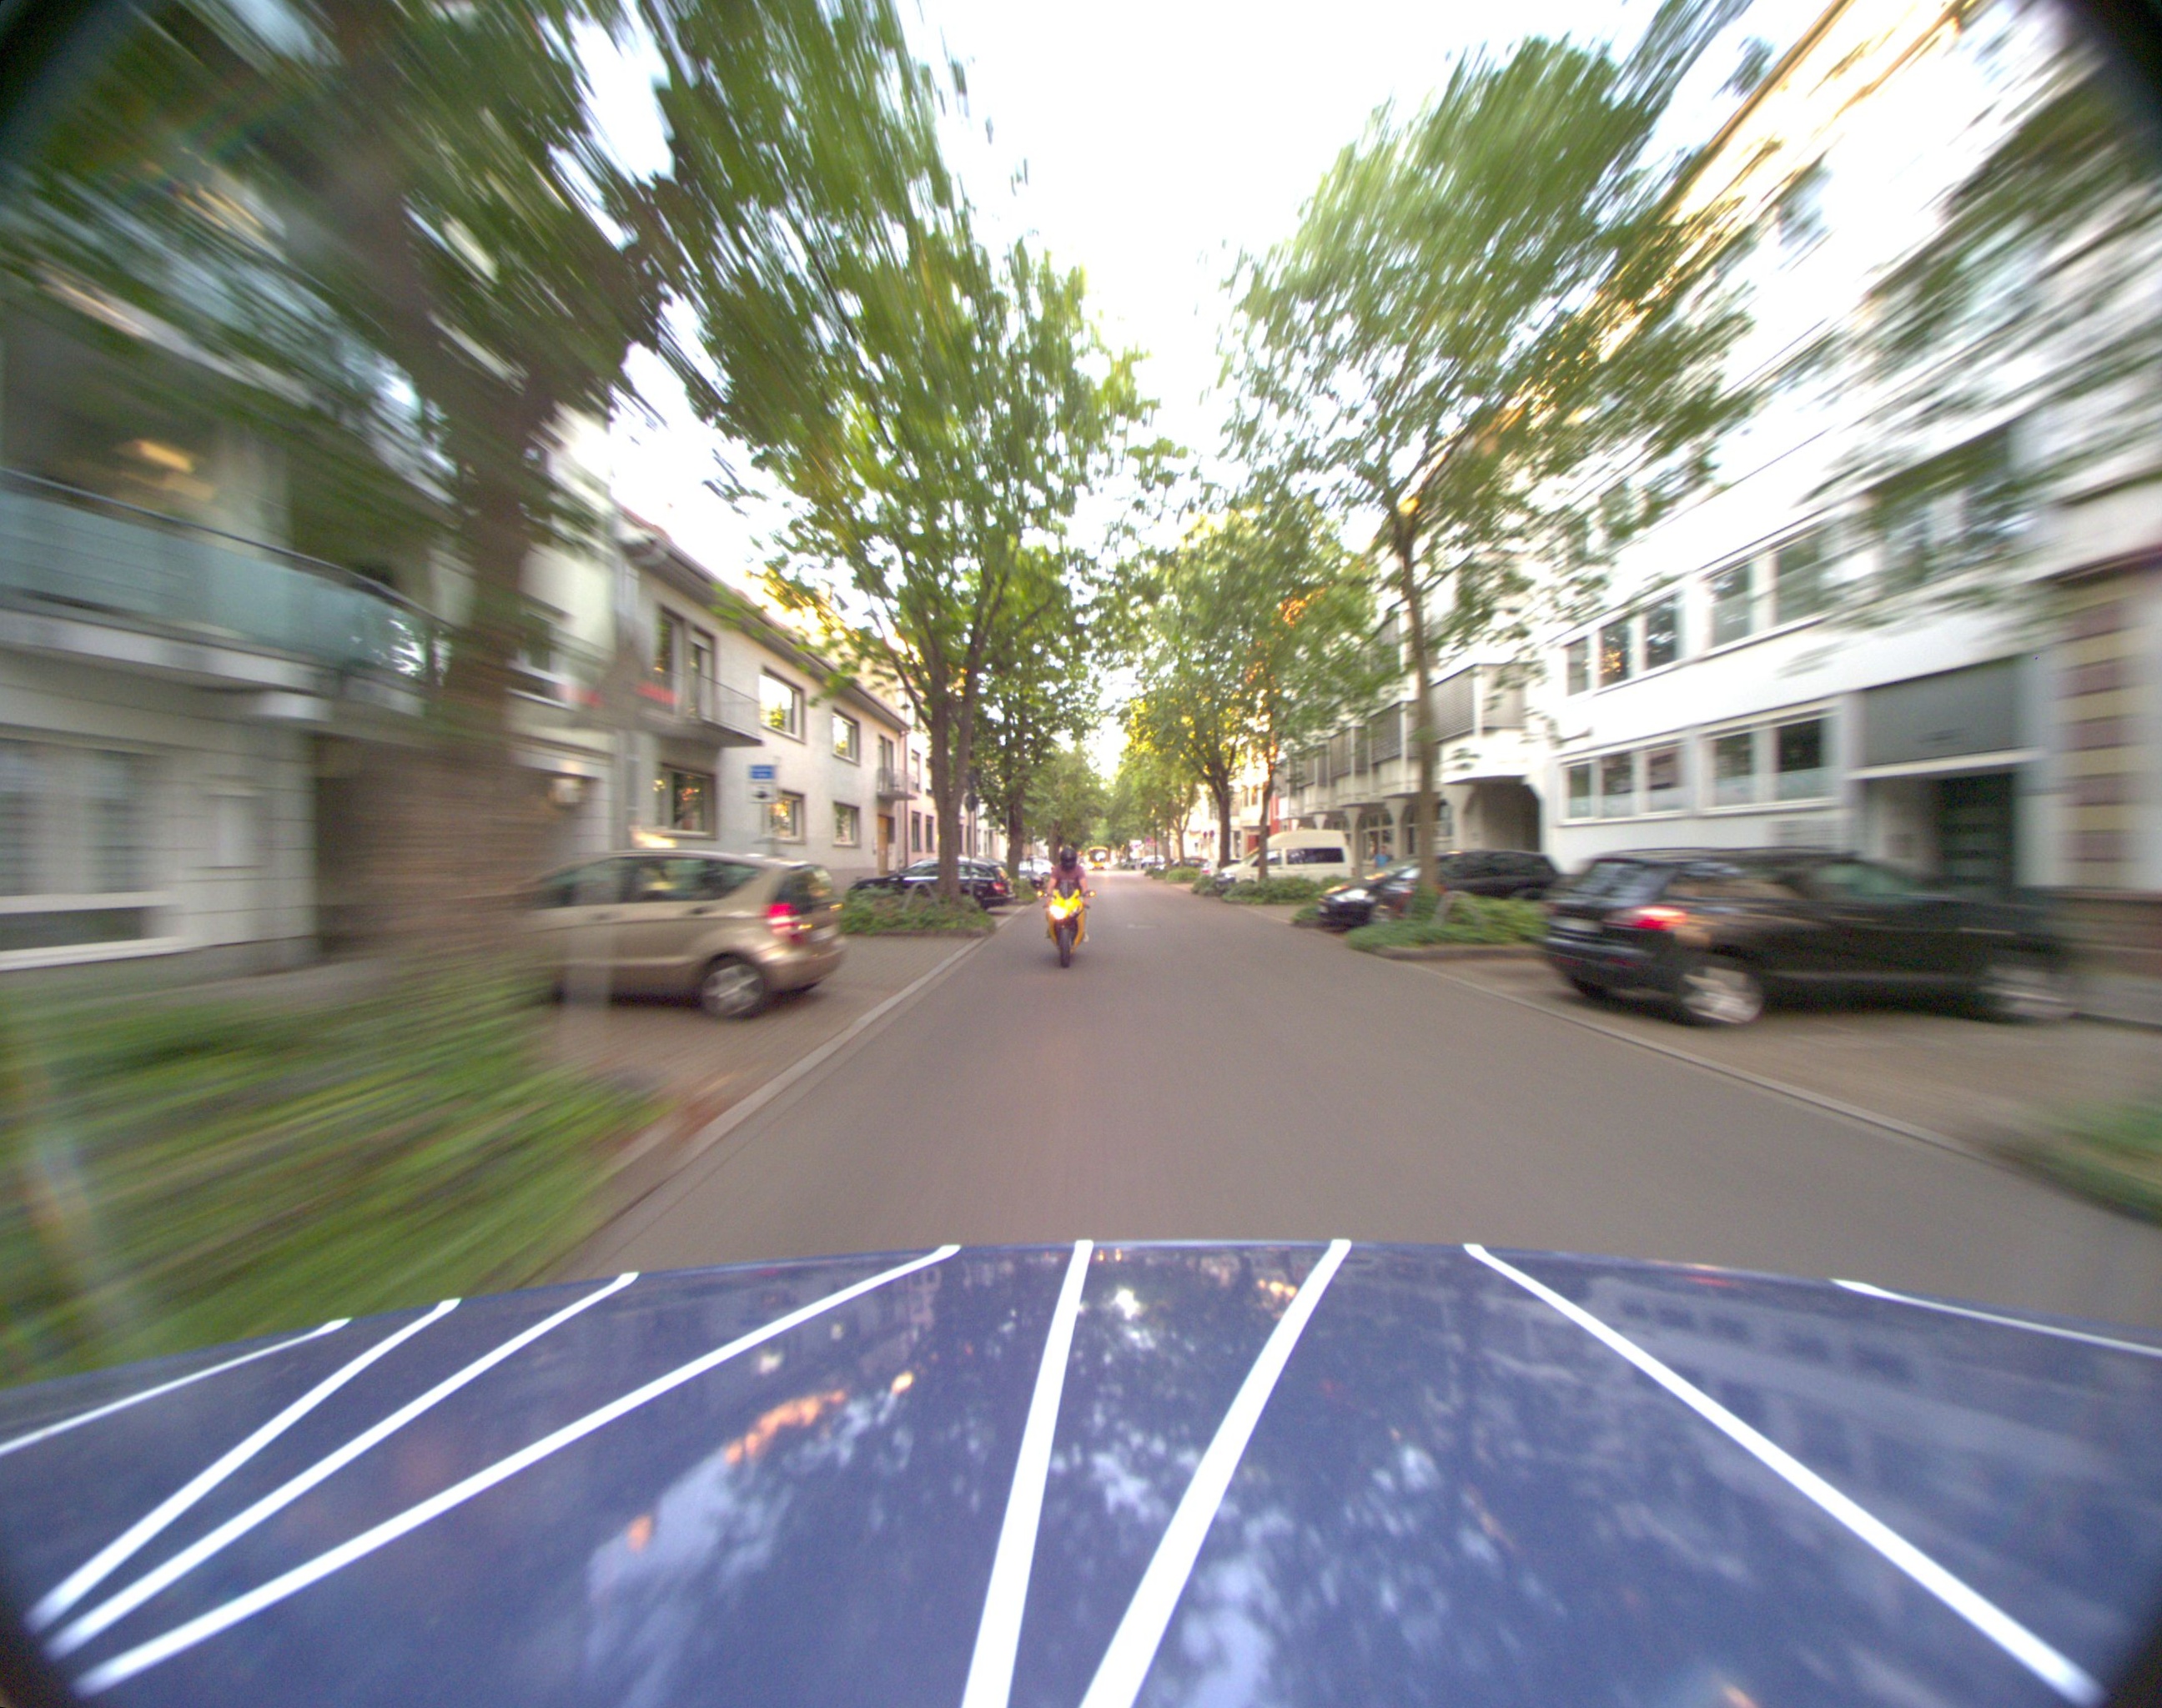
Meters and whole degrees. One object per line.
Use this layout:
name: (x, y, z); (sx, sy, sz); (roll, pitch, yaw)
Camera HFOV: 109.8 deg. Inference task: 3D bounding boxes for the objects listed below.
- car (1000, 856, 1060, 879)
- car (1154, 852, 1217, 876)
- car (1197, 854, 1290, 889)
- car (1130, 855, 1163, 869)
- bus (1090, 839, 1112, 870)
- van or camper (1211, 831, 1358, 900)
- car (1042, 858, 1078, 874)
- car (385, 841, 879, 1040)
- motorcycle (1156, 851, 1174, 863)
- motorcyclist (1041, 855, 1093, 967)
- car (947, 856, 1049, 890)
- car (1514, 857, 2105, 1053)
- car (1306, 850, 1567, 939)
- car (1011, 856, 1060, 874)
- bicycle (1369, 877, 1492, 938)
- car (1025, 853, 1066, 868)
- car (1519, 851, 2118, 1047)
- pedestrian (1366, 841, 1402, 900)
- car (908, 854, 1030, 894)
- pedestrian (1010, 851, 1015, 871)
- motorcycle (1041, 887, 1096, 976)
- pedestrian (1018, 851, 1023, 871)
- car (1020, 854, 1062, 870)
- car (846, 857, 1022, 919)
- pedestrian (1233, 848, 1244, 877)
car: (-3.312, 0.882, 50.047); (3.859, 1.390, 1.674); (1, 0, -3)
car: (7.770, 0.746, 56.688); (4.475, 1.748, 1.791); (0, 0, -2)
car: (7.578, 0.827, 35.725); (4.062, 1.519, 1.622); (-1, 0, 4)
car: (7.894, 0.995, 91.524); (3.858, 1.623, 1.675); (1, 0, 1)
bus: (2.745, 0.097, 104.857); (2.833, 4.085, 7.832); (0, 0, 1)
van or camper: (7.283, 0.407, 27.598); (4.829, 2.413, 1.945); (0, 0, 1)
car: (-2.363, 1.322, 85.851); (3.998, 1.752, 2.000); (0, 0, -2)
car: (-4.288, 0.774, 7.774); (3.872, 1.657, 1.926); (2, 0, 1)
motorcycle: (7.953, 0.273, 72.142); (1.626, 1.136, 0.572); (-2, 1, 3)
motorcyclist: (-0.210, 0.826, 11.406); (0.722, 1.605, 0.915); (-1, 0, -2)
car: (-3.902, 0.869, 36.178); (4.594, 1.461, 1.696); (1, 0, 2)
car: (6.688, 0.850, 7.322); (3.997, 1.579, 1.828); (-1, 0, -1)
car: (7.077, 0.773, 15.385); (4.548, 1.673, 1.621); (0, 0, -3)
car: (-3.718, 0.915, 62.395); (3.858, 1.390, 1.675); (1, 0, 1)
bicycle: (6.026, 0.912, 13.131); (1.906, 1.019, 0.479); (0, 0, -1)
car: (-3.430, 0.600, 73.786); (3.858, 1.390, 1.675); (1, 0, 1)
car: (6.732, 0.806, 7.304); (3.997, 1.582, 1.789); (-1, 0, 1)
pedestrian: (10.508, 0.575, 26.383); (0.942, 2.002, 0.839); (0, 1, 5)
car: (-4.353, 0.773, 29.955); (4.456, 1.515, 1.952); (0, 0, 2)
pedestrian: (-6.831, 0.705, 76.095); (0.449, 2.002, 0.485); (0, 0, 1)
motorcycle: (-0.198, 1.111, 11.440); (0.736, 1.115, 2.108); (-1, 0, -2)
pedestrian: (-6.093, 0.711, 76.394); (0.449, 2.002, 0.485); (0, 0, 1)
car: (-3.762, 0.755, 71.706); (3.858, 1.390, 1.675); (1, 0, 1)
car: (-3.962, 0.890, 20.815); (4.366, 1.461, 1.732); (2, 0, 6)
pedestrian: (9.619, 0.493, 46.310); (0.637, 1.734, 0.679); (0, 1, 10)
